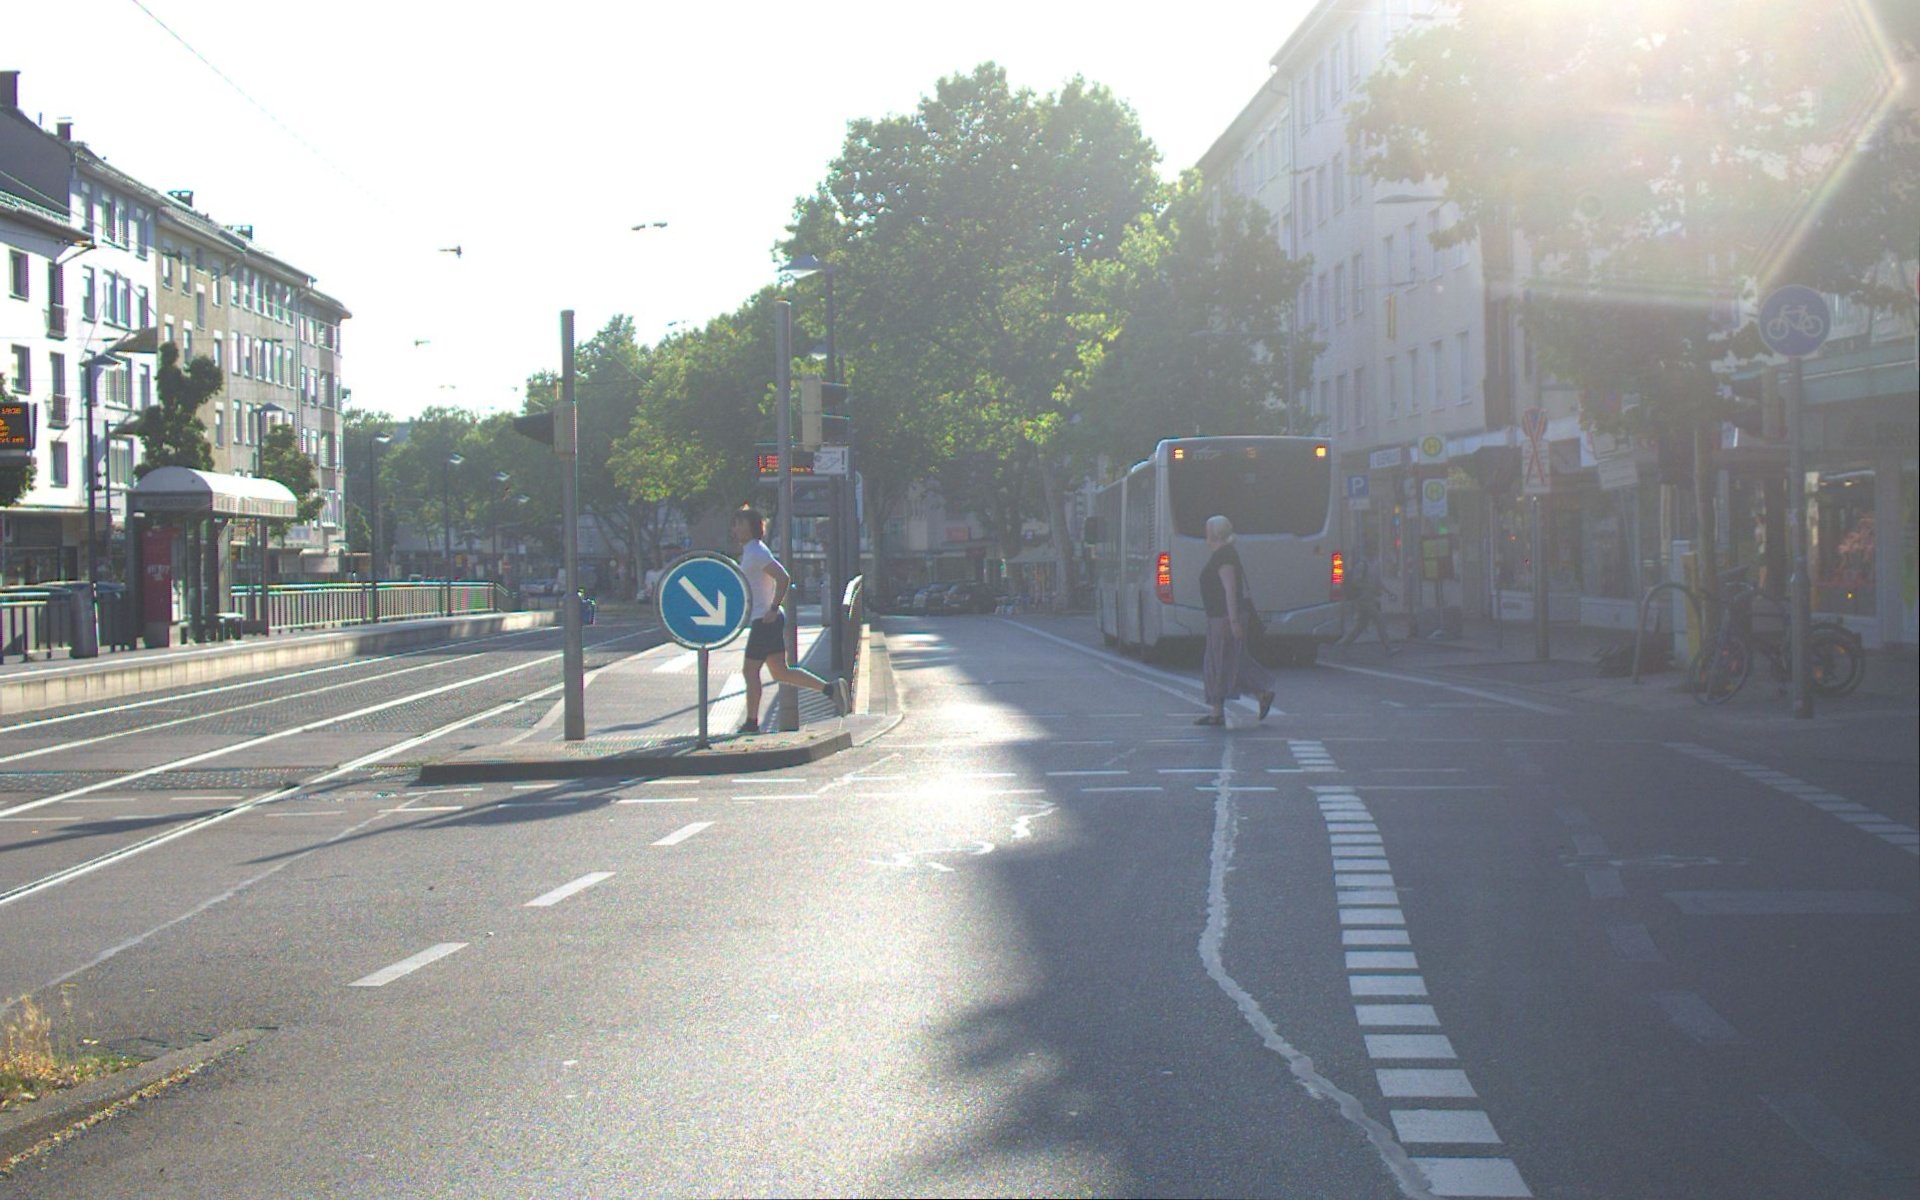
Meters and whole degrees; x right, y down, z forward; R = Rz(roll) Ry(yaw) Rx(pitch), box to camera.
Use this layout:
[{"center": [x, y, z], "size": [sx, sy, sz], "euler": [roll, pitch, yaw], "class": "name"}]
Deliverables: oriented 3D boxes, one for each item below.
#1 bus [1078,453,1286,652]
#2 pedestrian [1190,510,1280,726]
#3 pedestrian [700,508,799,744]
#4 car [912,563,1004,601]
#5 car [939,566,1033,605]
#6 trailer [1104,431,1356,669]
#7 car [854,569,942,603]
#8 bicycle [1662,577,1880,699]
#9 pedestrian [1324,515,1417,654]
[{"center": [3.663, -0.814, 58.925], "size": [2.812, 3.091, 9.095], "euler": [1, 1, -1], "class": "bus"}, {"center": [2.285, 0.143, 28.611], "size": [0.680, 1.764, 0.687], "euler": [0, 1, 0], "class": "pedestrian"}, {"center": [-1.611, 0.190, 26.257], "size": [0.680, 1.764, 0.687], "euler": [-1, 1, -7], "class": "pedestrian"}, {"center": [-0.106, -0.838, 161.239], "size": [3.889, 1.693, 1.833], "euler": [-2, 1, -29], "class": "car"}, {"center": [1.204, -0.672, 158.524], "size": [3.889, 1.693, 1.833], "euler": [-2, 1, -29], "class": "car"}, {"center": [3.765, -0.715, 49.983], "size": [2.812, 3.100, 8.795], "euler": [1, 1, -1], "class": "trailer"}, {"center": [-3.008, -0.683, 166.694], "size": [3.889, 1.591, 1.691], "euler": [-2, 1, -29], "class": "car"}, {"center": [7.378, 0.338, 31.317], "size": [1.772, 1.018, 0.694], "euler": [-2, 1, -1], "class": "bicycle"}, {"center": [6.019, -0.229, 50.408], "size": [0.954, 2.007, 0.917], "euler": [1, 1, -41], "class": "pedestrian"}]
